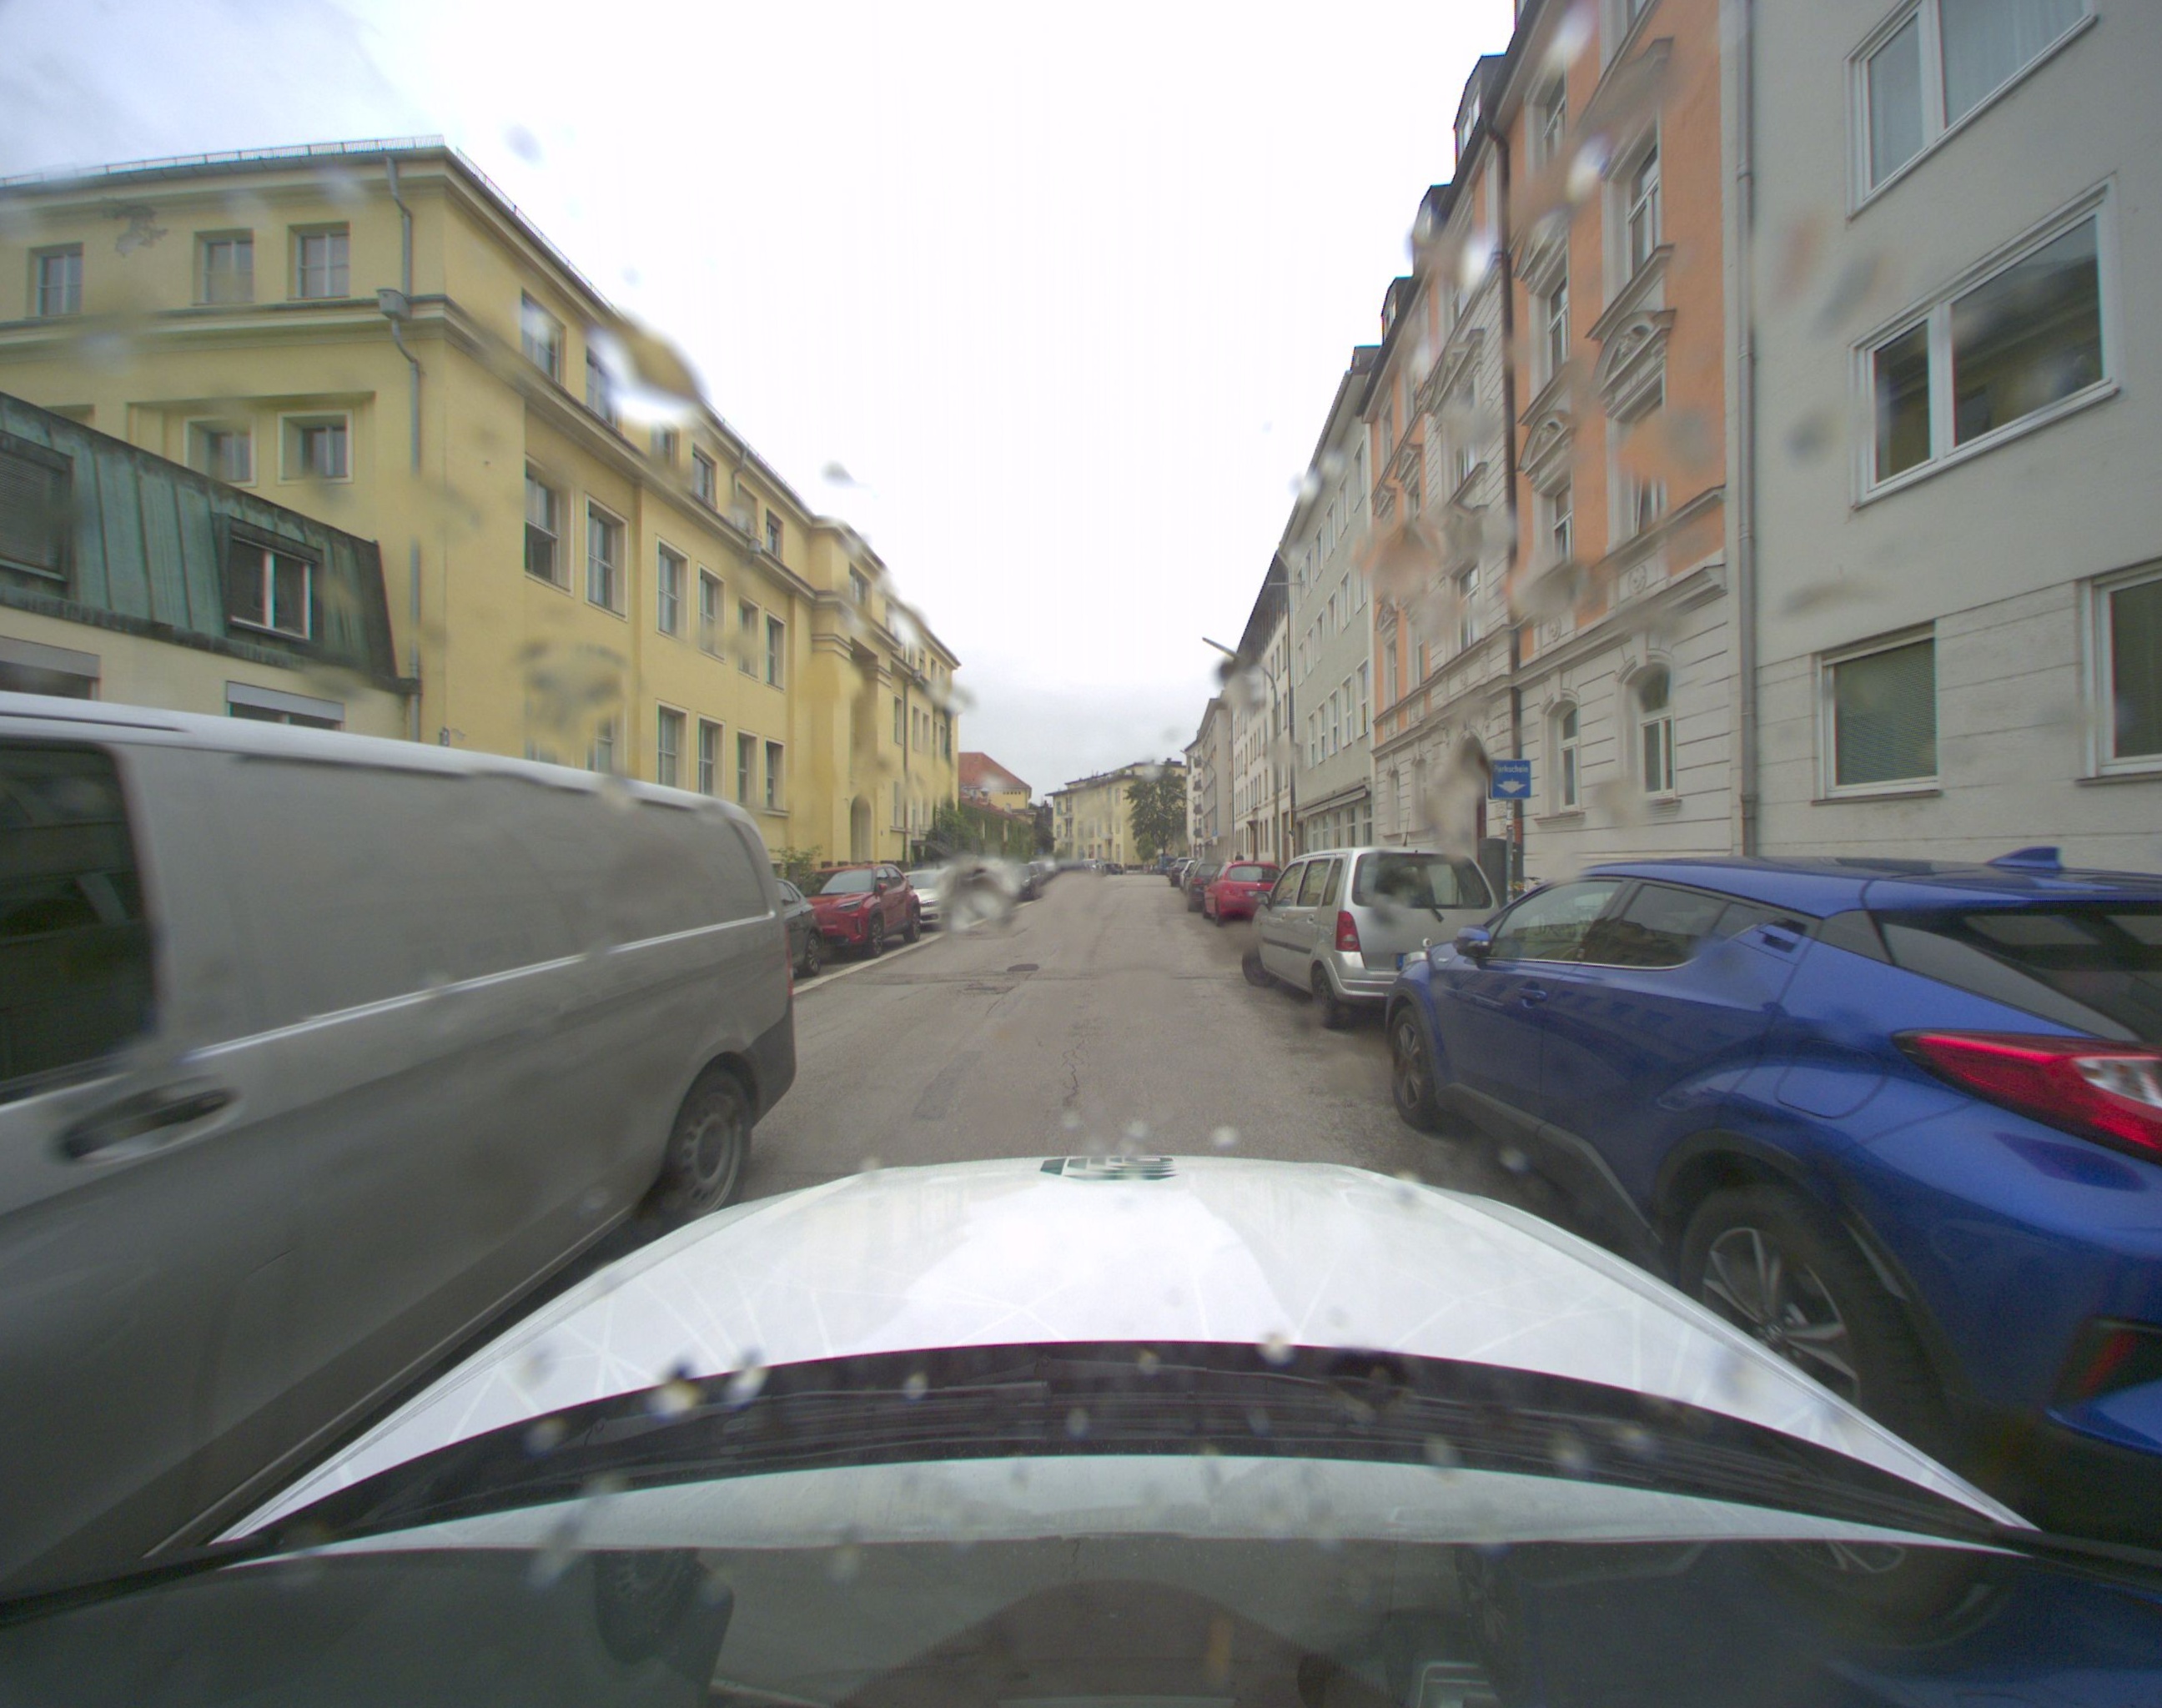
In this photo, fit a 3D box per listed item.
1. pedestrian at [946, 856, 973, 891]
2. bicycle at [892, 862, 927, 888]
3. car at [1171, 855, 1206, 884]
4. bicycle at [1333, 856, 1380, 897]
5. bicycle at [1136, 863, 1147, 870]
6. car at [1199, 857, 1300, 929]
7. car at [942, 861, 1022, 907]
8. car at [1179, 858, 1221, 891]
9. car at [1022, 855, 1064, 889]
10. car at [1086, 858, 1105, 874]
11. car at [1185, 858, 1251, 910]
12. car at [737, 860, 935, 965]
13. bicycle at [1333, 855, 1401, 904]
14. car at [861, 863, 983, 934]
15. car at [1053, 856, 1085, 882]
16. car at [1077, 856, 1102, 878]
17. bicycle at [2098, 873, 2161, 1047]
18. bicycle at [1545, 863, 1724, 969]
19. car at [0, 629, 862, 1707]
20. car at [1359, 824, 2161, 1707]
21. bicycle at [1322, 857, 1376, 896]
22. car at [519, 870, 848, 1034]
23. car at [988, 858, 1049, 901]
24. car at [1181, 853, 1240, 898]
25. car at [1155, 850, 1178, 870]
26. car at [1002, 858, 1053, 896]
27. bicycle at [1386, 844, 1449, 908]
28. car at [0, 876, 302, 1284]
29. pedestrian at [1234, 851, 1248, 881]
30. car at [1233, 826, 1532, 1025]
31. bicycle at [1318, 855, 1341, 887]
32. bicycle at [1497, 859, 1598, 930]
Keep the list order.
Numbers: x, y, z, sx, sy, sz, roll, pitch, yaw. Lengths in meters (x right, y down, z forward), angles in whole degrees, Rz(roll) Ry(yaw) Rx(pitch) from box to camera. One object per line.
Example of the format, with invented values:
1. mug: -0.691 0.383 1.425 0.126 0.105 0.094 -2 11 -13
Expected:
1. pedestrian: -6.254 1.000 41.792 0.894 1.719 1.064 -3 0 20
2. bicycle: -8.847 1.076 42.033 1.618 1.268 0.528 -2 -1 5
3. car: 5.842 0.827 44.623 1.830 1.522 4.717 0 -1 6
4. bicycle: 7.795 0.619 22.998 0.614 1.089 1.826 -2 0 39
5. bicycle: 10.422 2.109 140.424 1.903 1.201 0.599 -1 -1 41
6. car: 3.914 0.841 19.502 1.681 1.500 4.149 1 0 2
7. car: -3.282 0.958 27.948 1.776 1.432 4.658 -1 -1 5
8. car: 5.404 0.909 37.364 1.664 1.429 4.536 0 -1 5
9. car: -1.957 0.934 43.220 1.739 1.634 4.859 -3 -1 2
10. car: 1.621 1.277 87.703 1.690 1.643 4.494 -4 -1 4
11. car: 4.039 0.841 24.552 1.679 1.402 4.371 -1 -1 6
12. car: -4.148 0.917 14.689 1.950 1.482 4.532 -4 -1 2
13. bicycle: 7.305 0.636 20.739 2.103 1.139 0.577 -2 0 -39
14. car: -3.814 1.018 20.376 1.786 1.429 4.668 -5 -1 3
15. car: -0.811 1.012 56.816 1.782 1.586 4.822 -4 -1 3
16. car: 0.856 1.198 77.414 1.878 1.889 4.781 -4 -1 6
17. bicycle: 7.112 0.667 4.436 0.528 1.072 1.997 -1 0 -5
18. bicycle: 6.612 0.686 9.879 0.721 1.112 1.992 -1 0 -3
19. car: -2.408 0.634 2.100 1.907 1.848 5.326 -1 0 4
20. car: 2.670 0.694 3.482 1.734 1.494 4.554 -1 0 5
21. bicycle: 7.783 0.640 23.598 1.856 1.067 0.510 -2 0 -38
22. car: -4.460 0.988 10.034 1.743 1.405 4.356 -4 -1 1
23. car: -2.482 0.994 33.142 1.691 1.497 4.154 -5 -1 5
24. car: 4.891 0.751 31.184 1.700 1.592 4.363 0 0 2
25. car: 10.737 0.779 102.774 2.073 2.234 5.240 3 -3 -1
26. car: -2.435 1.027 38.268 1.696 1.502 4.499 -6 -1 3
27. bicycle: 7.741 0.488 18.848 0.593 1.385 2.093 -2 0 2
28. car: -5.286 0.961 2.304 1.718 1.629 4.467 -4 -1 1
29. pedestrian: 9.582 0.712 48.898 0.719 1.764 0.906 -1 -3 5
30. car: 2.913 0.614 8.774 1.677 1.673 3.800 0 0 -3
31. bicycle: 9.337 0.615 30.663 0.382 1.158 1.952 -2 0 4
32. bicycle: 7.482 0.615 13.158 0.593 1.024 1.818 -2 0 2
